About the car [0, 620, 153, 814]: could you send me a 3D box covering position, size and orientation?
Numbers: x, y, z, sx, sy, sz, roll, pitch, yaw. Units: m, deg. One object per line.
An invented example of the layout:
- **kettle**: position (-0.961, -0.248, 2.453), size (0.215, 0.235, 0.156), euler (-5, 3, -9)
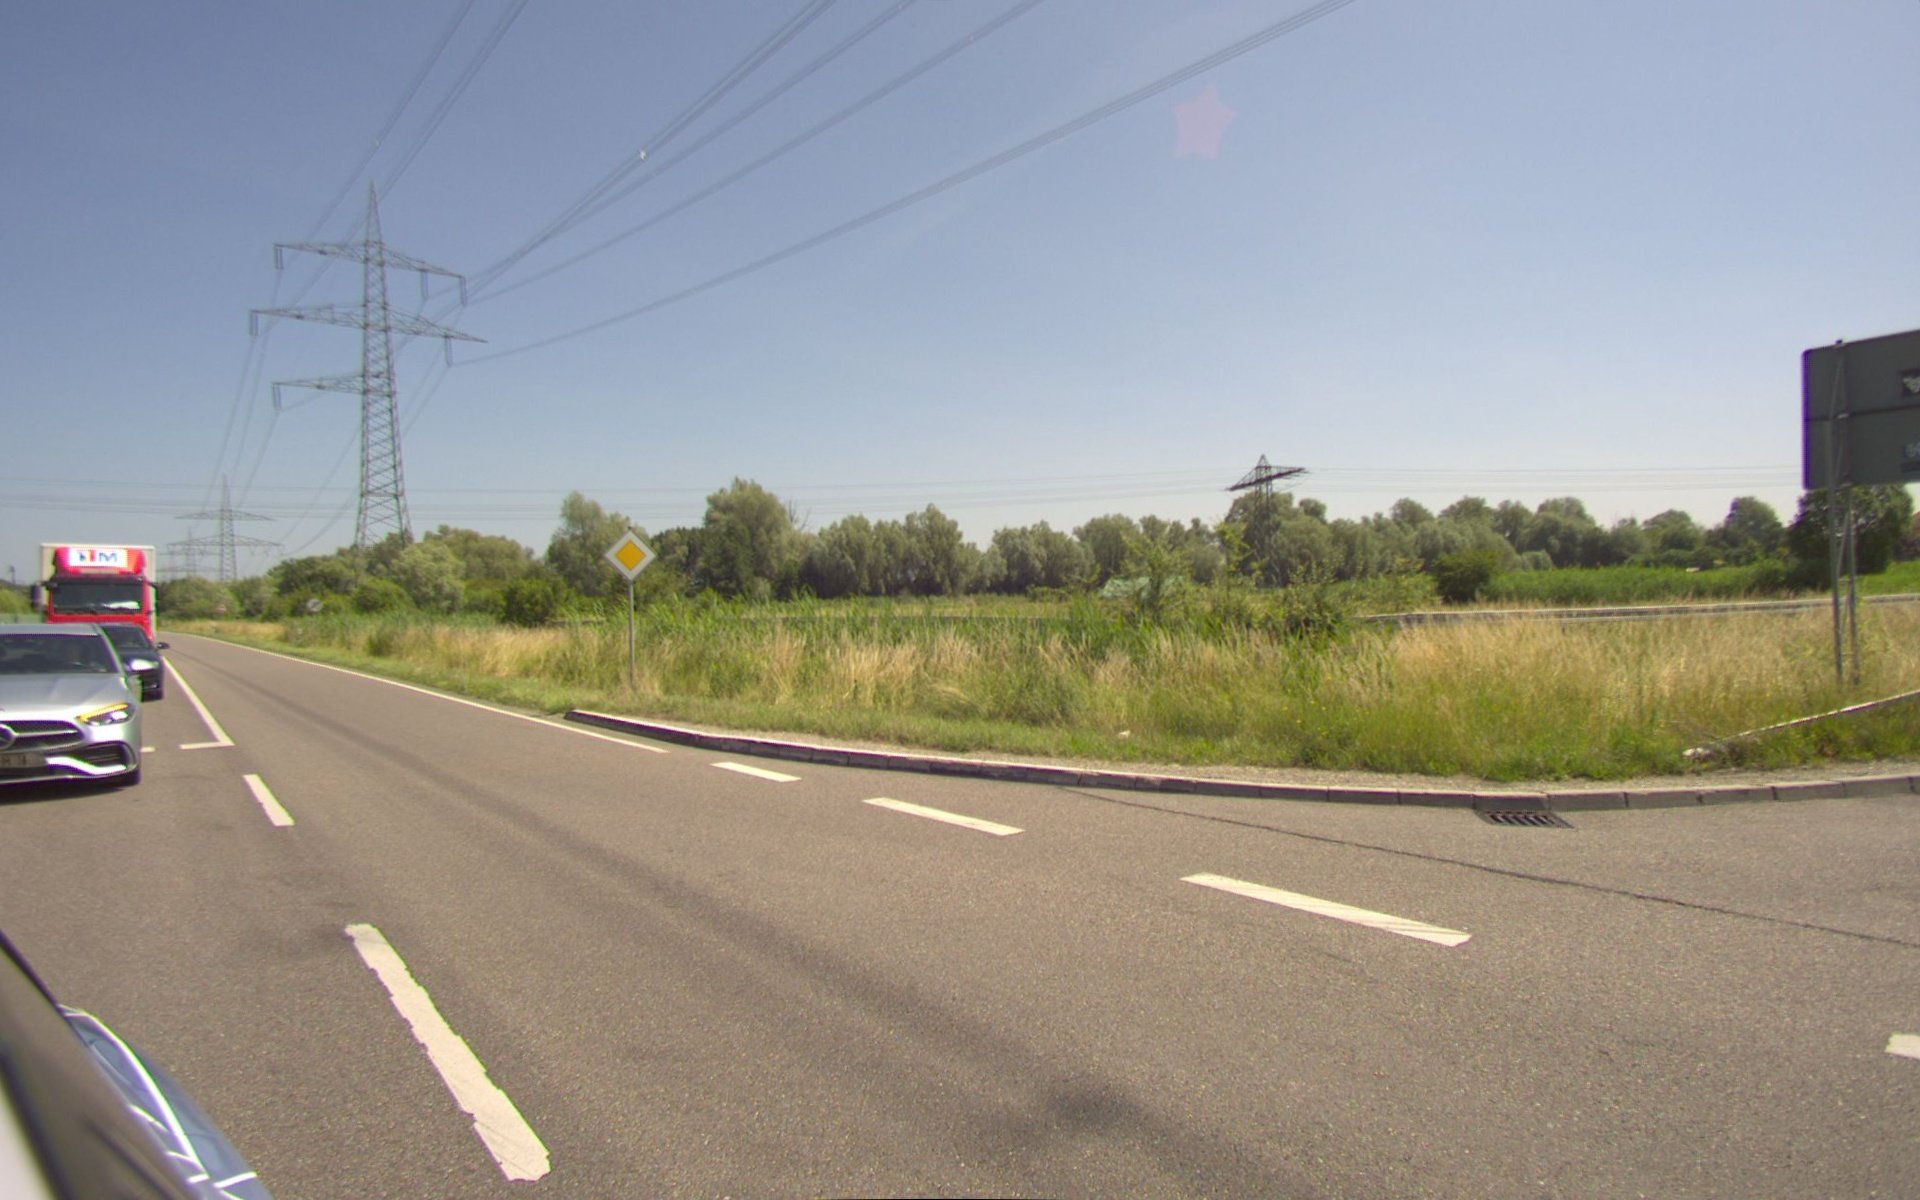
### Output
- **car**: position (-8.726, 0.915, 9.313), size (1.968, 1.457, 4.475), euler (1, -1, -39)

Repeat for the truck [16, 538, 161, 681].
- **truck**: position (-25.462, 0.275, 29.763), size (2.863, 3.690, 7.168), euler (-2, 0, -40)

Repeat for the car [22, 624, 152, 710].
- **car**: position (-16.335, 1.162, 19.110), size (1.672, 1.403, 4.476), euler (1, -1, -39)
